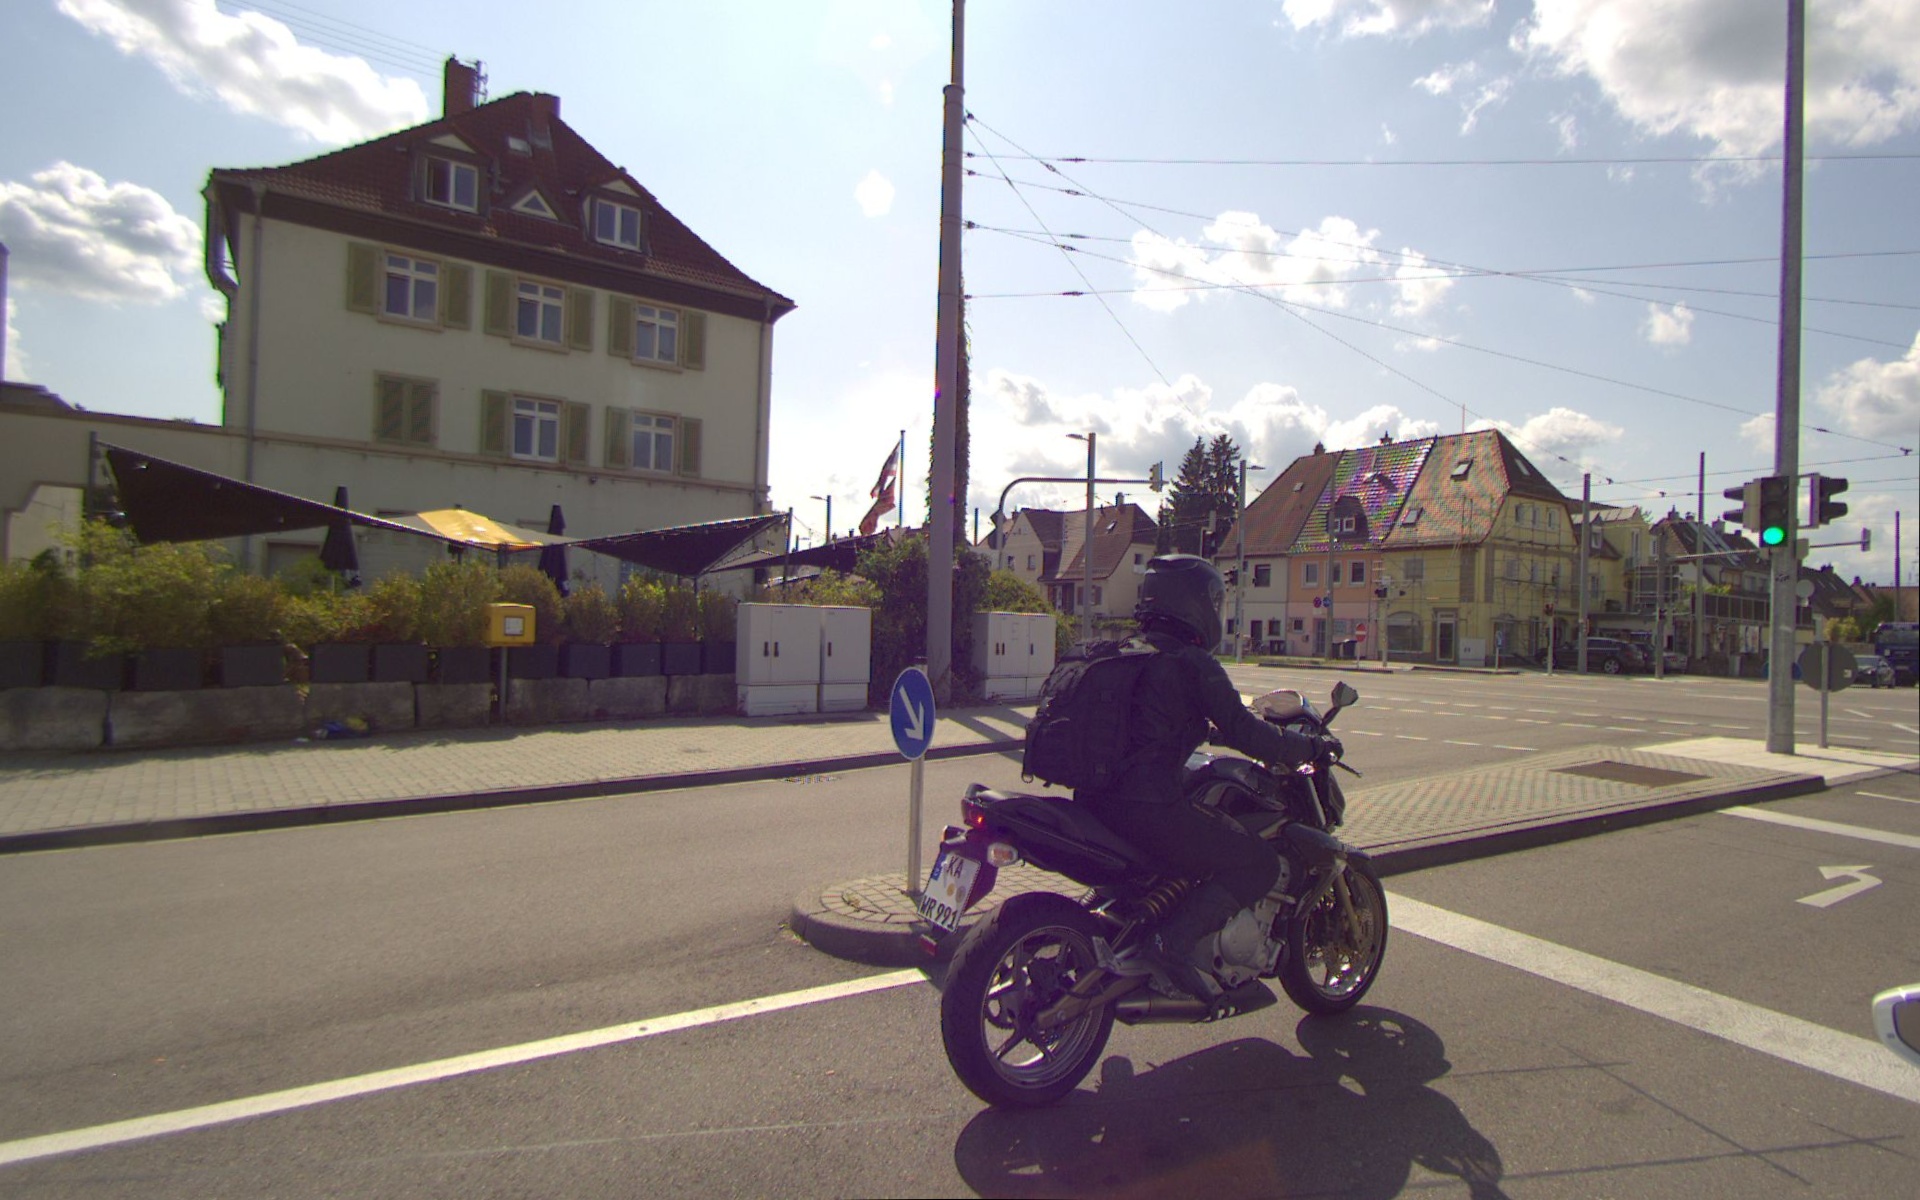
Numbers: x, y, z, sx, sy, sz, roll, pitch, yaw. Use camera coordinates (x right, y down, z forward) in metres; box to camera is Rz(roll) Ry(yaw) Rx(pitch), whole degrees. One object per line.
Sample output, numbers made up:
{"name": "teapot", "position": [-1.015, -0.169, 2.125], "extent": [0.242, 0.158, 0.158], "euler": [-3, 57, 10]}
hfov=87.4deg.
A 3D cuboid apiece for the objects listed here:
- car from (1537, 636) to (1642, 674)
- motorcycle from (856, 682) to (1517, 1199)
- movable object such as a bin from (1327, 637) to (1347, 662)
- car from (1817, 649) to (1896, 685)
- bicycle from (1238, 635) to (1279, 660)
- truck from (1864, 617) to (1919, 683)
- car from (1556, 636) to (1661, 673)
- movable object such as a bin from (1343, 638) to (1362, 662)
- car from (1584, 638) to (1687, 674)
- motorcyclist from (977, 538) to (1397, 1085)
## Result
{"name": "car", "position": [30.207, 2.616, 48.333], "extent": [1.168, 1.513, 4.103], "euler": [3, 0, -37]}
{"name": "motorcycle", "position": [0.878, 0.890, 3.327], "extent": [2.338, 1.142, 0.835], "euler": [2, -1, -38]}
{"name": "movable object such as a bin", "position": [20.352, 2.683, 54.226], "extent": [0.675, 1.277, 0.677], "euler": [2, 0, -33]}
{"name": "car", "position": [41.050, 3.080, 45.969], "extent": [4.292, 1.506, 1.816], "euler": [3, -2, -35]}
{"name": "bicycle", "position": [17.504, 2.794, 58.839], "extent": [2.428, 1.373, 0.770], "euler": [2, 0, -29]}
{"name": "truck", "position": [50.305, 2.684, 52.953], "extent": [7.517, 3.230, 2.747], "euler": [3, -2, -38]}
{"name": "car", "position": [32.263, 2.705, 50.075], "extent": [1.494, 1.513, 4.103], "euler": [3, 0, -37]}
{"name": "movable object such as a bin", "position": [21.478, 2.731, 54.915], "extent": [0.675, 1.277, 0.677], "euler": [2, 0, -33]}
{"name": "car", "position": [34.550, 2.839, 51.471], "extent": [1.422, 1.513, 4.103], "euler": [3, 0, -37]}
{"name": "motorcyclist", "position": [0.729, 0.536, 3.245], "extent": [1.090, 1.417, 0.817], "euler": [-1, 2, -37]}
